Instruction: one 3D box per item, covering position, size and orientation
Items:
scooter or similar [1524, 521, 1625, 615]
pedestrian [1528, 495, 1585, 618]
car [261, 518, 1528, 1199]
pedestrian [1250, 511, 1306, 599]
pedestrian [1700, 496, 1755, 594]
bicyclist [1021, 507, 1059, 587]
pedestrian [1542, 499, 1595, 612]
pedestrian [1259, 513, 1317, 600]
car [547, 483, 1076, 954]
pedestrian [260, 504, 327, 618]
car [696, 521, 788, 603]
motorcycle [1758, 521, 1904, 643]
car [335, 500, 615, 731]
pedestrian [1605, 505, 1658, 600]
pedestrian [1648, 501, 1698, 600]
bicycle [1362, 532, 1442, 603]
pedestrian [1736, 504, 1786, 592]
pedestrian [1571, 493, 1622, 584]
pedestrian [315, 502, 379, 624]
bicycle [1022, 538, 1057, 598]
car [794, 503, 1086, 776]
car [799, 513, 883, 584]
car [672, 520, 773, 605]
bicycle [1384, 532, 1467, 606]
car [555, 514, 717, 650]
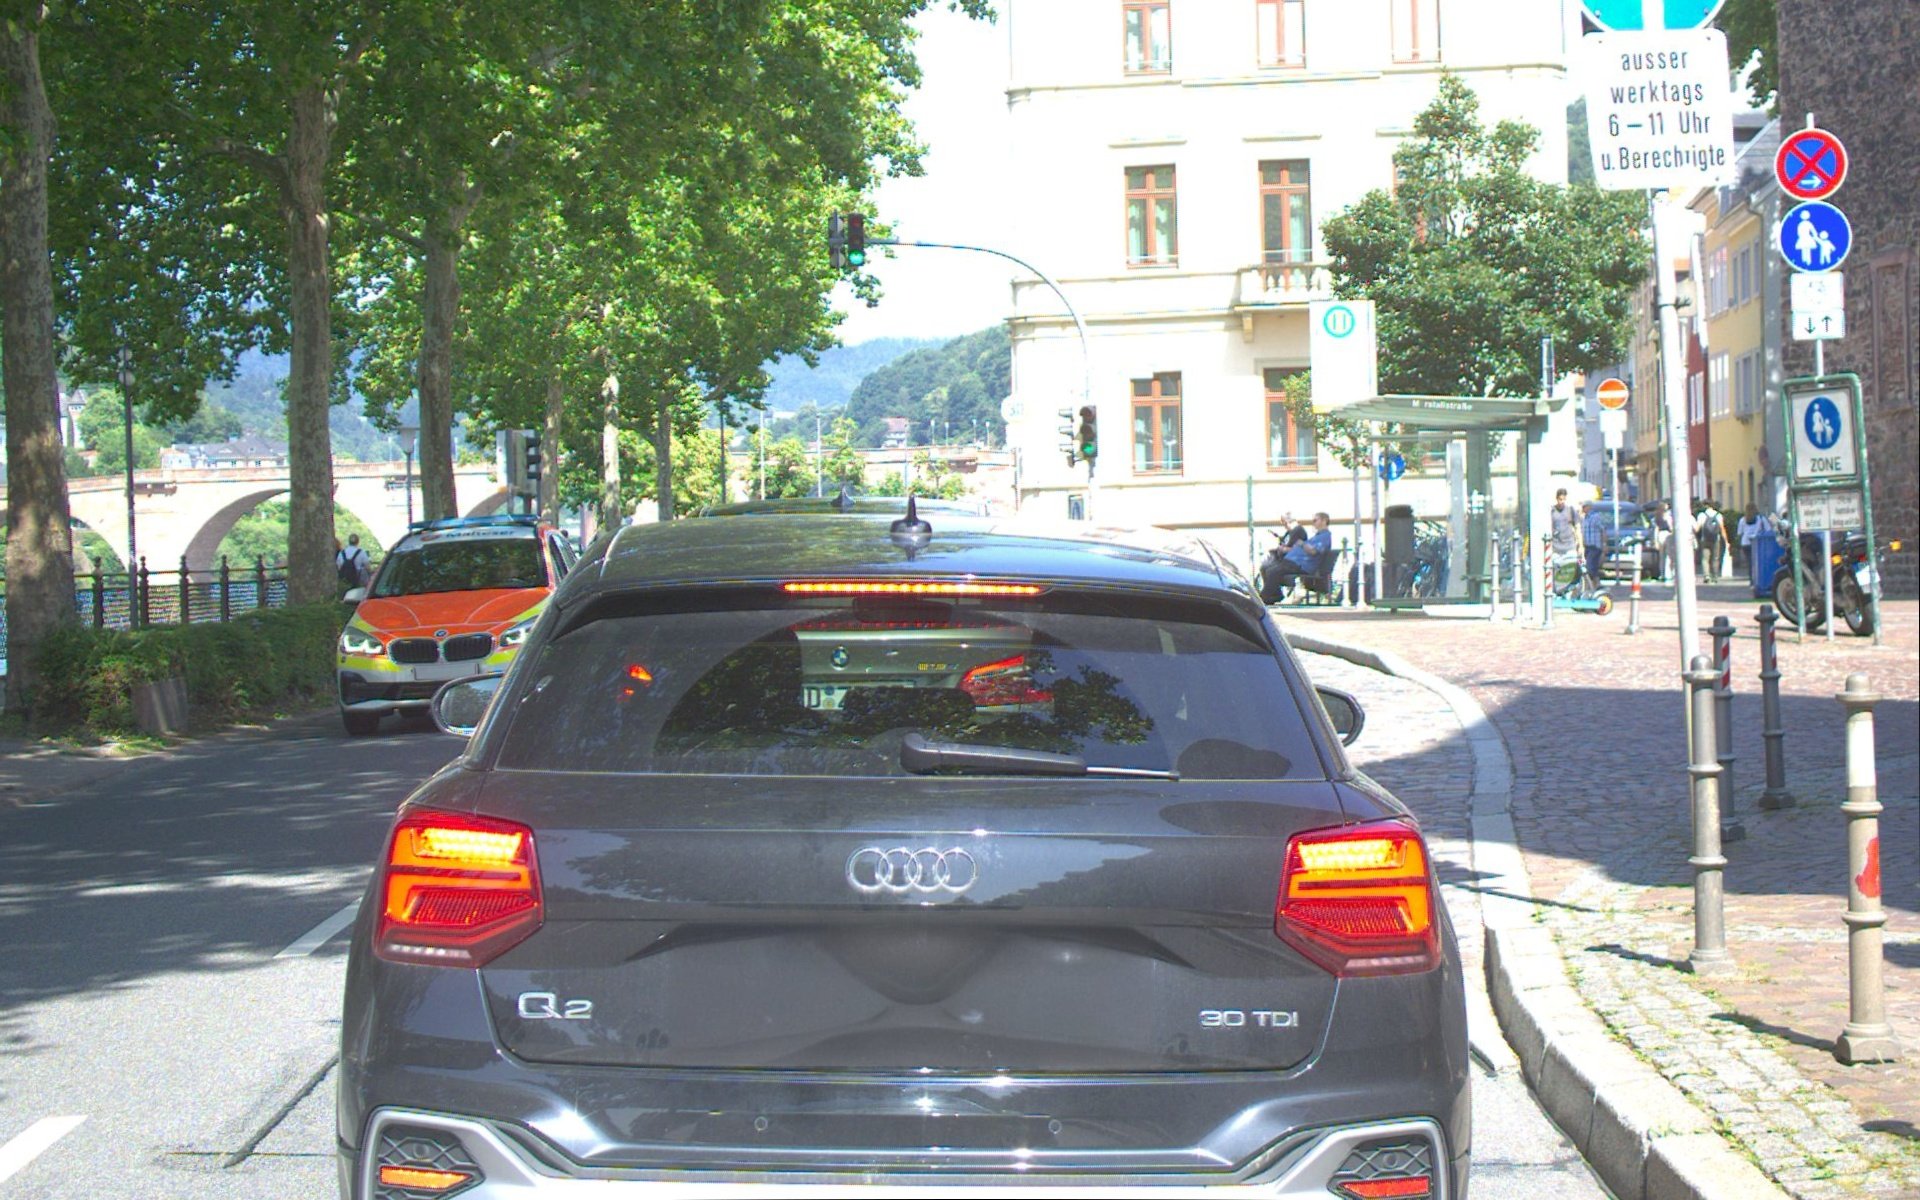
[{"bbox_3d":[7.037,-0.367,39.390,1.088,1.062,0.323,1,0,-2],"label":"scooter or similar"},{"bbox_3d":[9.262,-0.679,53.413,0.747,1.884,0.752,1,0,2],"label":"pedestrian"},{"bbox_3d":[-0.116,0.612,6.597,1.743,1.504,3.647,1,1,-1],"label":"car"},{"bbox_3d":[4.512,-0.638,48.824,0.663,1.227,0.641,1,0,-6],"label":"pedestrian"},{"bbox_3d":[15.772,-1.128,70.679,0.940,2.007,0.807,1,0,1],"label":"pedestrian"},{"bbox_3d":[1.459,-0.964,62.486,0.605,1.445,0.591,1,0,-5],"label":"bicyclist"},{"bbox_3d":[7.518,-0.551,42.500,0.557,1.380,0.588,1,0,2],"label":"pedestrian"},{"bbox_3d":[4.585,-0.605,48.100,0.663,1.207,0.641,1,0,-6],"label":"pedestrian"},{"bbox_3d":[-0.528,0.371,13.497,1.793,1.589,3.399,1,1,-1],"label":"car"},{"bbox_3d":[-10.638,-0.617,54.921,0.911,1.805,0.585,1,0,4],"label":"pedestrian"},{"bbox_3d":[-5.231,-0.948,82.941,1.813,1.719,4.422,-6,1,0],"label":"car"},{"bbox_3d":[7.600,-0.179,30.092,0.566,1.009,2.490,-1,1,-2],"label":"motorcycle"},{"bbox_3d":[-3.896,0.071,28.223,1.673,1.654,4.223,-4,1,-1],"label":"car"},{"bbox_3d":[14.457,-1.023,74.009,0.944,2.007,0.807,1,0,0],"label":"pedestrian"},{"bbox_3d":[14.688,-1.018,70.827,0.839,2.007,0.738,1,0,0],"label":"pedestrian"},{"bbox_3d":[6.374,-0.469,49.565,1.184,1.012,0.179,1,0,-19],"label":"bicycle"},{"bbox_3d":[15.024,-0.977,64.435,0.692,1.607,0.890,-2,1,25],"label":"pedestrian"},{"bbox_3d":[11.582,-1.127,62.540,0.776,1.616,0.645,-2,1,2],"label":"pedestrian"},{"bbox_3d":[-10.239,-0.621,57.455,0.911,2.007,0.585,1,0,4],"label":"pedestrian"},{"bbox_3d":[1.440,-0.585,62.497,0.437,1.082,1.677,1,0,-5],"label":"bicycle"},{"bbox_3d":[-0.138,0.194,22.069,1.710,1.603,3.655,0,1,-1],"label":"car"},{"bbox_3d":[-3.108,-1.335,90.475,1.993,1.800,4.000,1,0,1],"label":"car"},{"bbox_3d":[-4.883,-0.799,71.044,1.738,1.566,4.092,-4,1,0],"label":"car"},{"bbox_3d":[6.632,-0.441,48.938,1.201,1.031,0.179,1,0,-19],"label":"bicycle"},{"bbox_3d":[-4.285,-0.269,45.985,1.769,1.654,4.000,-3,1,-1],"label":"car"}]
